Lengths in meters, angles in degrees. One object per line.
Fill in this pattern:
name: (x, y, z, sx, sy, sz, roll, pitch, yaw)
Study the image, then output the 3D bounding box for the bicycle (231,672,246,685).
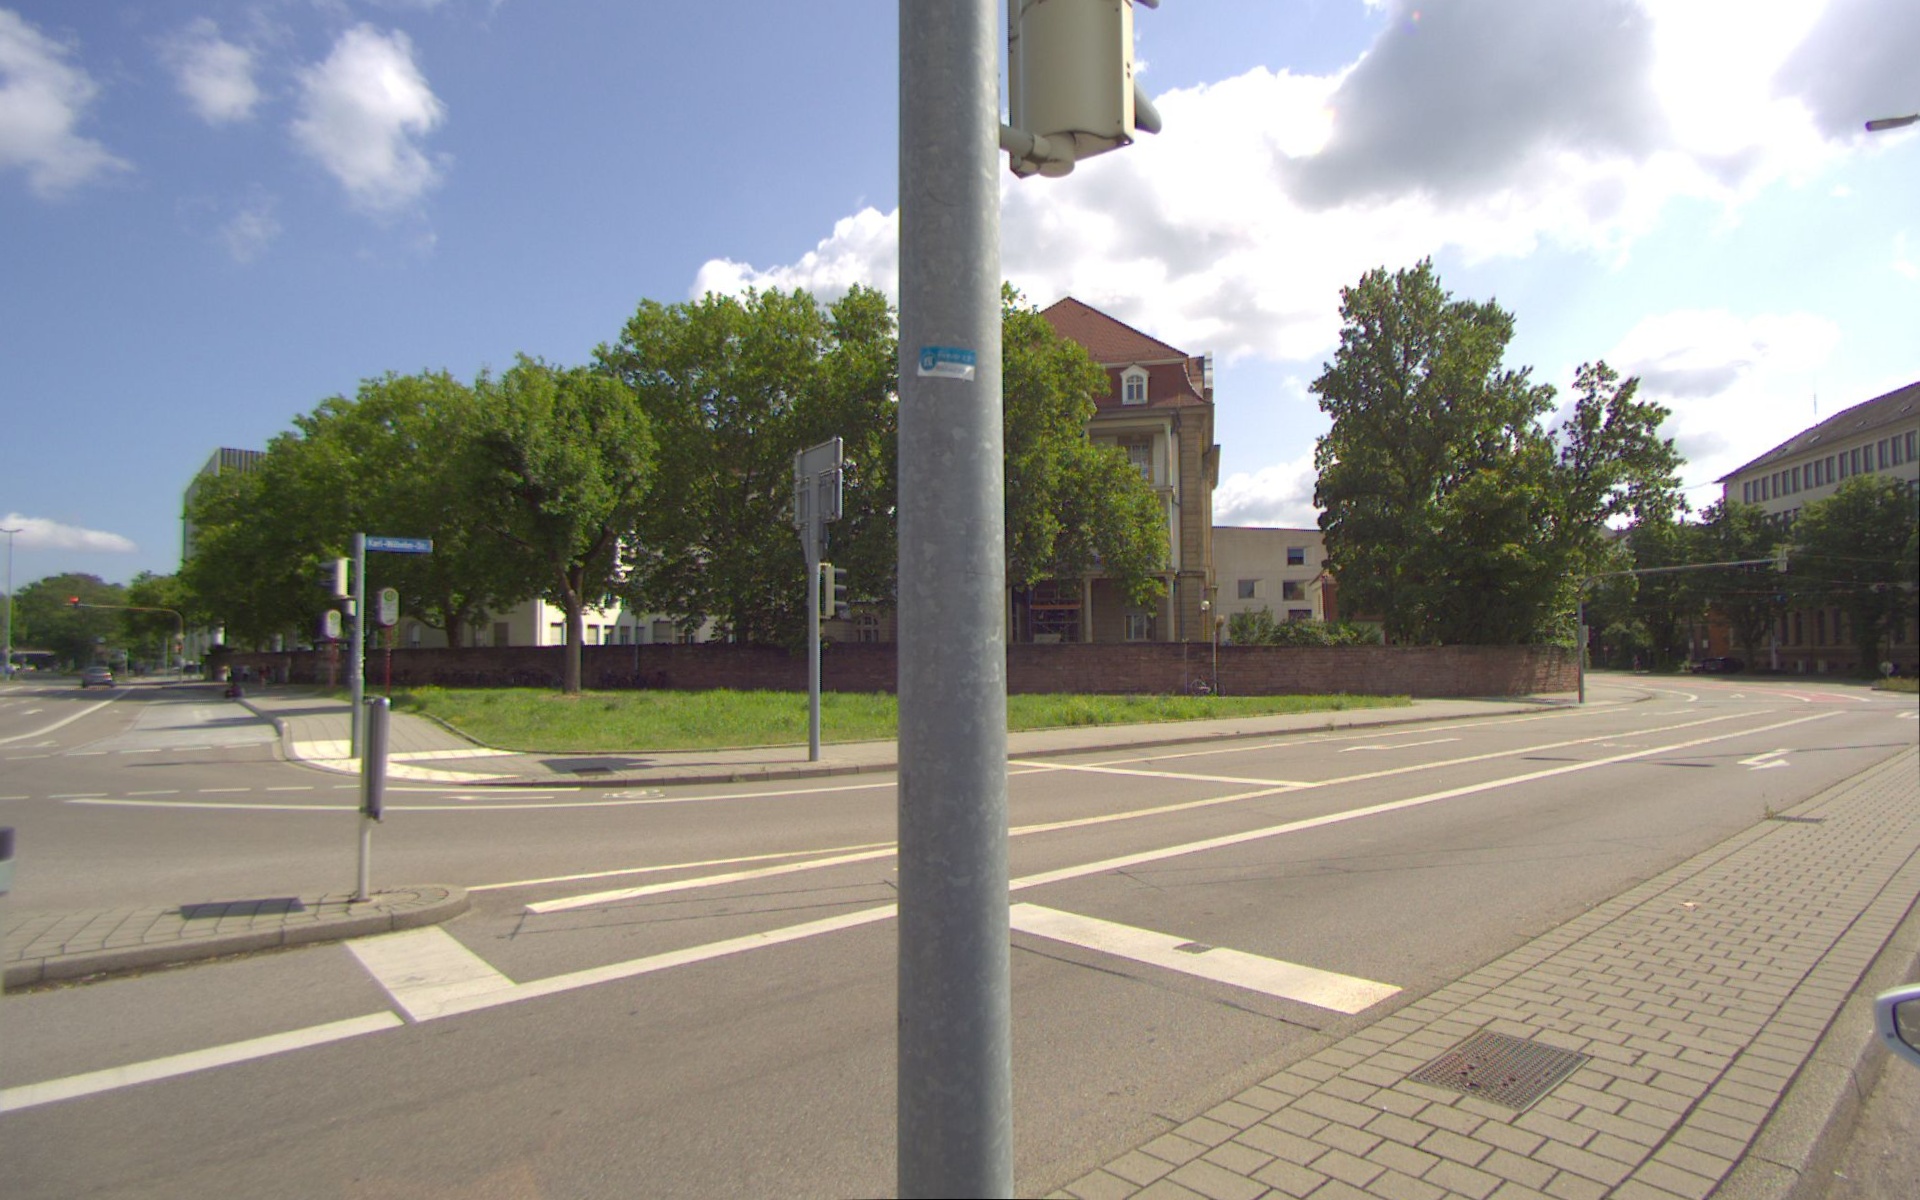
bicycle: (-58.761, 6.369, 81.777, 1.854, 1.062, 0.628, -4, -4, 42)

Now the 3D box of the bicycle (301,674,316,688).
bicycle: (-44.482, 5.531, 68.556, 1.379, 0.967, 0.366, -3, -4, 36)

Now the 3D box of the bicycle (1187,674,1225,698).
bicycle: (10.501, 3.656, 42.881, 1.492, 1.005, 0.394, 0, -3, 4)

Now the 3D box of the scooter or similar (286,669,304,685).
scooter or similar: (-46.146, 5.319, 69.734, 1.854, 1.062, 0.579, -4, -4, 42)

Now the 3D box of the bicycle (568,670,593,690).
bicycle: (-19.957, 4.193, 52.792, 1.431, 1.024, 0.471, -3, -3, 31)

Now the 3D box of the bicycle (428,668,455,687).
bicycle: (-30.162, 4.490, 58.441, 1.602, 1.087, 0.583, -3, -3, 30)

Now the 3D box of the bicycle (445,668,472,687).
bicycle: (-28.753, 4.445, 57.548, 1.602, 1.087, 0.583, -3, -3, 30)

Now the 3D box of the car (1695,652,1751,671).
car: (71.089, 5.696, 93.638, 3.944, 1.706, 1.793, -3, -4, 43)

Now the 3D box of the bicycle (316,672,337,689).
bicycle: (-41.802, 5.317, 66.278, 1.727, 1.087, 0.582, -3, -4, 36)

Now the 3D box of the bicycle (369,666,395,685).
bicycle: (-35.494, 4.638, 61.685, 1.725, 1.087, 0.583, -3, -3, 30)

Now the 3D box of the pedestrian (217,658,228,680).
pedestrian: (-57.054, 5.313, 77.669, 0.558, 1.672, 0.718, 2, -4, -44)

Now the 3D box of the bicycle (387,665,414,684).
bicycle: (-33.800, 4.504, 60.688, 1.725, 1.087, 0.583, -3, -3, 30)

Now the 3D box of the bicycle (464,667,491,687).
bicycle: (-27.246, 4.367, 56.733, 1.602, 1.087, 0.583, -3, -3, 30)

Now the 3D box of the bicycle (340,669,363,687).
bicycle: (-38.505, 4.926, 63.594, 1.727, 1.087, 0.582, -3, -4, 35)

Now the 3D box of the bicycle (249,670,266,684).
bicycle: (-53.097, 5.830, 75.906, 1.854, 1.062, 0.590, -4, -4, 42)

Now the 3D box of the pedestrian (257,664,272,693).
pedestrian: (-40.058, 4.537, 57.866, 0.652, 1.631, 0.737, 0, -3, -38)

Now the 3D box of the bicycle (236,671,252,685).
bicycle: (-57.292, 6.237, 80.372, 1.854, 1.062, 0.628, -4, -4, 42)

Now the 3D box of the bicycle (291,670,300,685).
bicycle: (-44.659, 5.213, 67.540, 0.363, 0.967, 1.612, 1, -3, -29)

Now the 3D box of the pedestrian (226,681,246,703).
pedestrian: (-33.166, 4.221, 46.032, 0.691, 0.975, 0.734, 1, -3, -40)

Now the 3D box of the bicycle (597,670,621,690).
bicycle: (-18.179, 4.140, 52.018, 1.346, 1.024, 0.391, -3, -3, 31)

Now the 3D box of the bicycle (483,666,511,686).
bicycle: (-25.820, 4.252, 55.968, 1.602, 1.087, 0.583, -3, -3, 30)

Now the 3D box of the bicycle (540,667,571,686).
bicycle: (-21.644, 4.083, 53.679, 1.930, 1.024, 0.471, -3, -3, 31)

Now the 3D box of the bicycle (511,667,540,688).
bicycle: (-23.743, 4.218, 54.839, 1.839, 1.087, 0.582, -3, -4, 34)

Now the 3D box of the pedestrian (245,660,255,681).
pedestrian: (-53.217, 5.250, 75.273, 0.474, 1.560, 0.608, 2, -4, -44)

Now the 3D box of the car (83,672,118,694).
car: (-61.552, 5.935, 71.998, 1.691, 1.463, 4.100, 3, -5, -39)

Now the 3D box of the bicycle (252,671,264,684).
bicycle: (-54.542, 6.021, 78.060, 1.854, 1.062, 0.369, -4, -4, 42)

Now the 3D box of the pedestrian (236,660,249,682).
pedestrian: (-53.517, 5.285, 74.897, 0.639, 1.672, 0.722, 2, -4, -44)

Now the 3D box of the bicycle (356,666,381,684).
bicycle: (-36.934, 4.693, 62.693, 1.725, 1.087, 0.583, -3, -3, 30)

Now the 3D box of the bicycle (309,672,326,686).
bicycle: (-43.290, 5.319, 67.664, 1.601, 0.967, 0.370, -3, -4, 36)

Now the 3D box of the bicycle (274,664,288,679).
bicycle: (-48.649, 5.106, 71.977, 1.854, 1.062, 0.393, -4, -4, 42)

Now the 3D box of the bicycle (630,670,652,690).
bicycle: (-16.246, 4.065, 51.170, 1.233, 1.024, 0.353, -3, -3, 31)

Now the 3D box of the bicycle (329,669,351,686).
bicycle: (-39.964, 4.987, 64.744, 1.727, 1.087, 0.582, -3, -4, 36)

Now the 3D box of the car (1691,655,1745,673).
car: (72.606, 6.085, 96.239, 3.944, 1.706, 1.793, -3, -4, 43)
